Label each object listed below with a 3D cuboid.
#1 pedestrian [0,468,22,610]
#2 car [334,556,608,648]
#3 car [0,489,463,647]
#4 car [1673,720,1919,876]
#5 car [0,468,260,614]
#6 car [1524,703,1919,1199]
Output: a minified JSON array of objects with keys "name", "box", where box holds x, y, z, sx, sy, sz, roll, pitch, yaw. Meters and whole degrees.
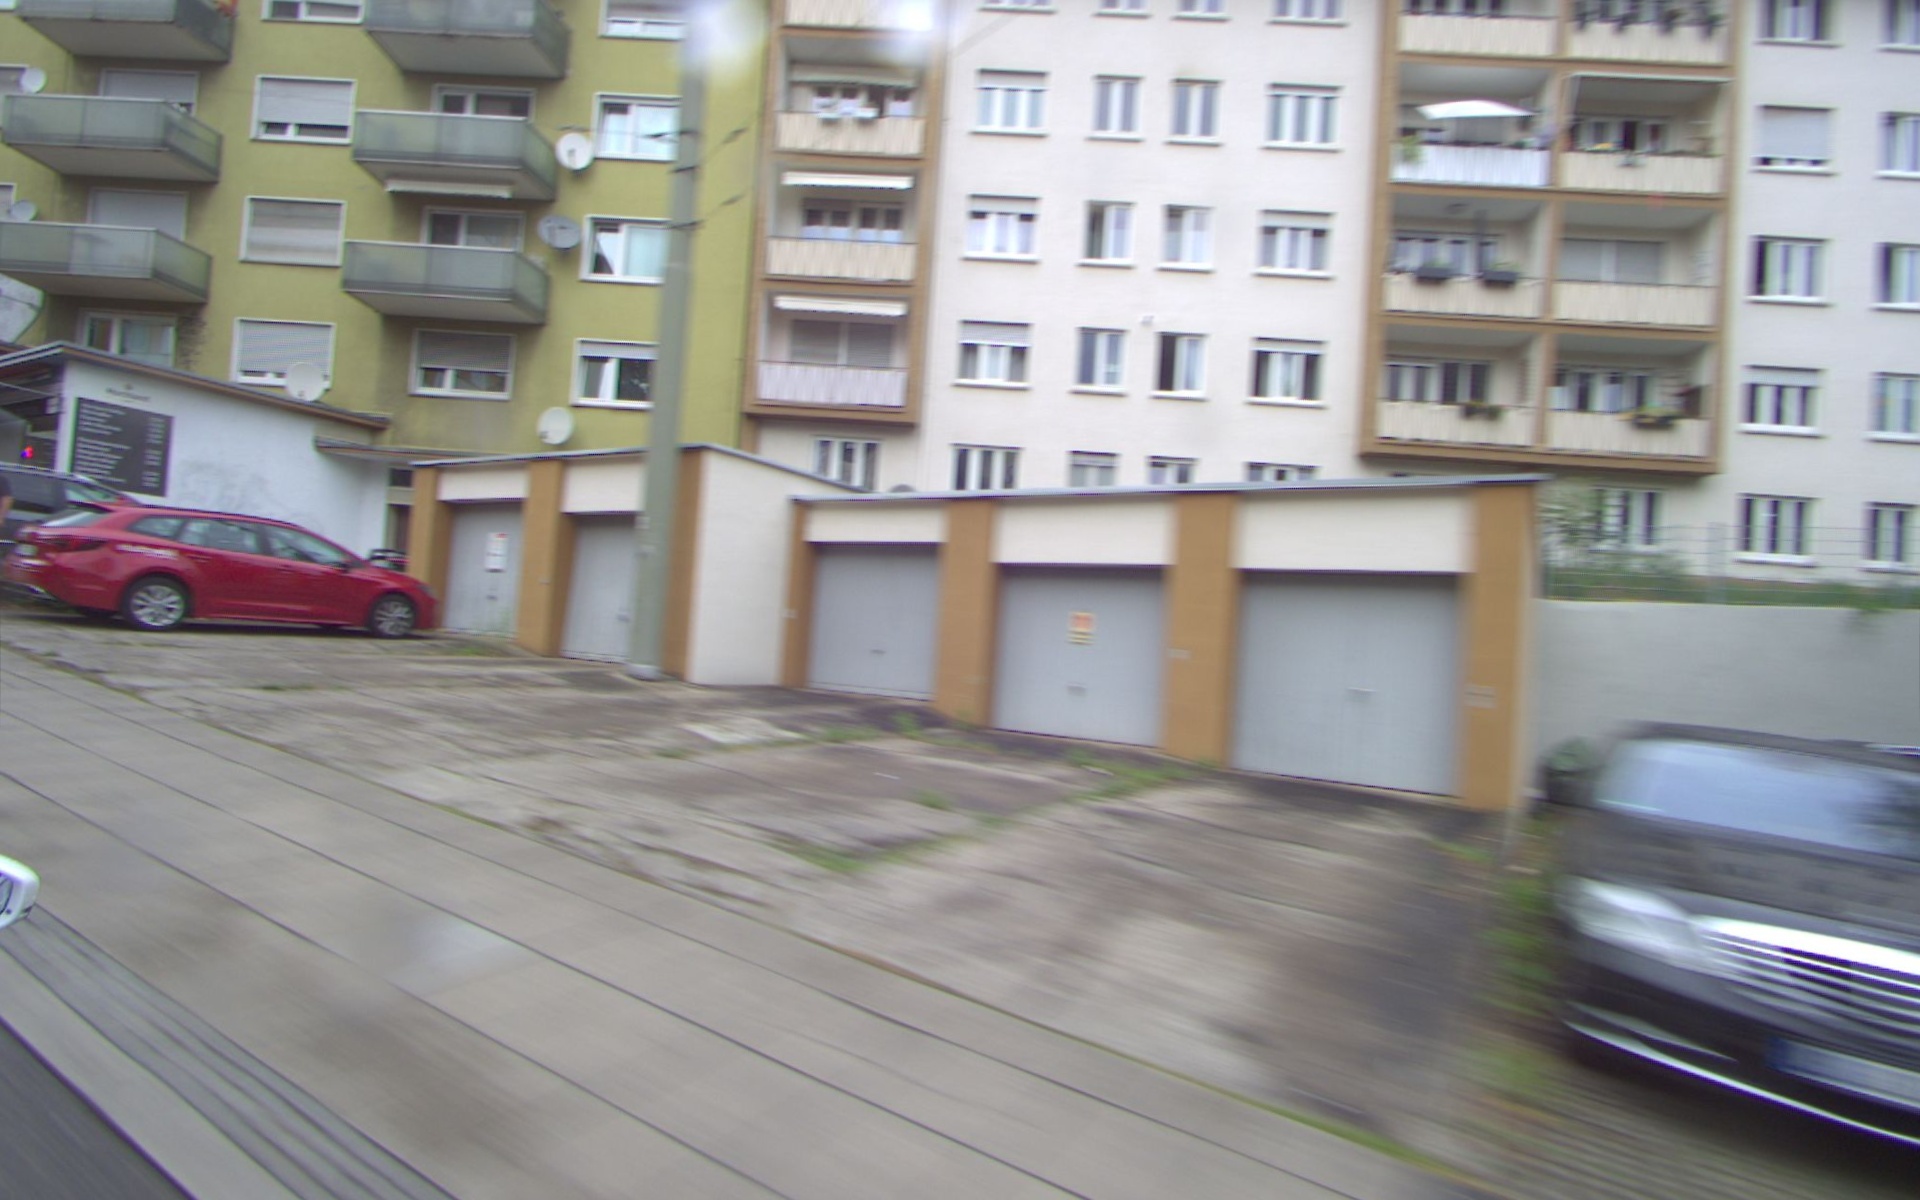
[{"name":"pedestrian","box":[-12.144,-0.791,12.487,0.711,1.736,0.605,8,2,44]},{"name":"car","box":[-9.358,0.107,19.642,1.752,1.418,4.517,3,-2,32]},{"name":"car","box":[-9.066,-0.290,12.864,1.735,1.455,4.576,7,0,30]},{"name":"car","box":[12.658,2.813,13.688,4.340,1.622,1.752,8,-2,17]},{"name":"car","box":[-12.637,-0.860,13.994,1.751,1.695,4.332,7,0,33]},{"name":"car","box":[4.148,1.469,5.180,1.941,1.452,4.944,6,-4,31]}]
